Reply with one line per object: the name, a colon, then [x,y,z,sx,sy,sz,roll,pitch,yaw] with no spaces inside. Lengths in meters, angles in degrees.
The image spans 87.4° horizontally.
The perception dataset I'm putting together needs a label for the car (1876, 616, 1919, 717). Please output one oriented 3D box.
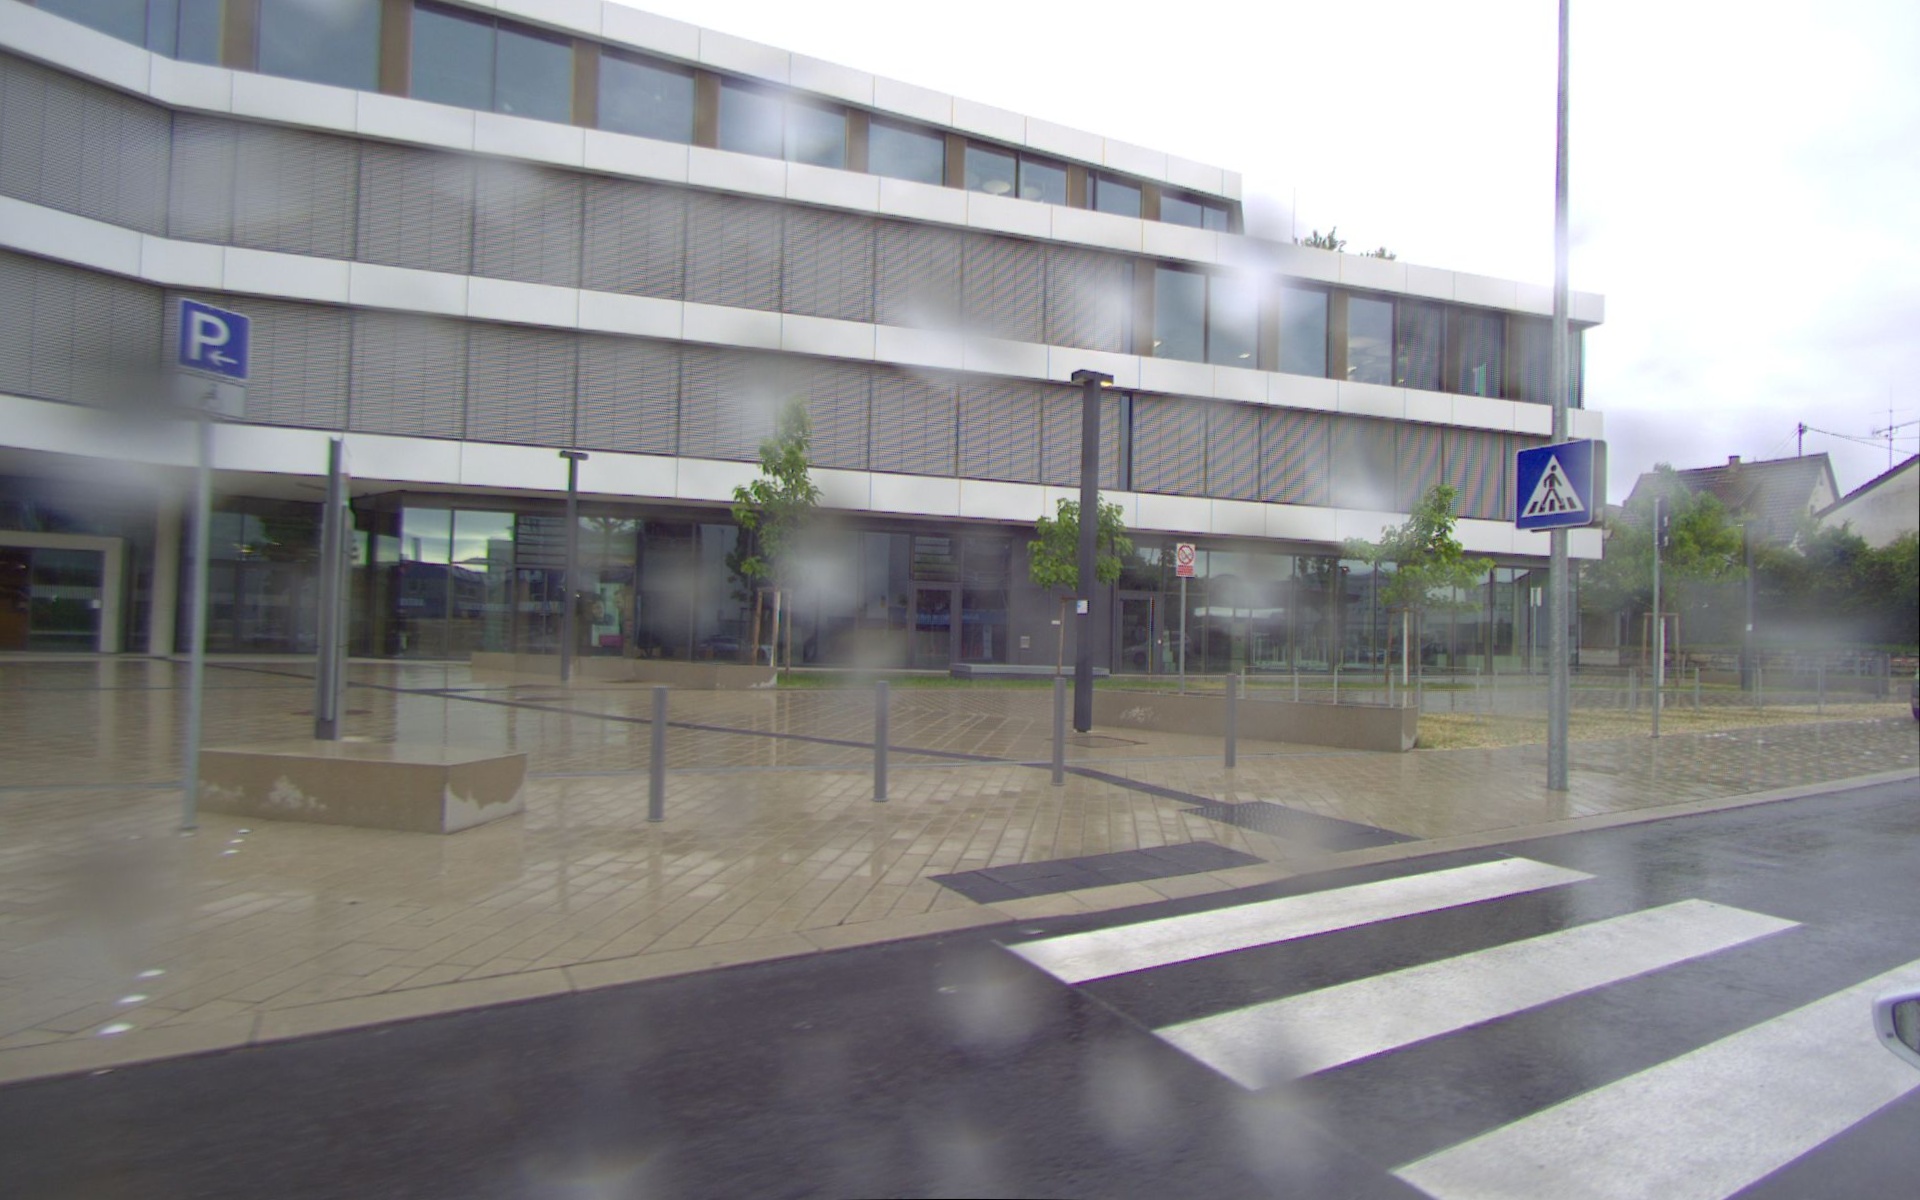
car: [17.715,1.137,17.119,4.104,1.650,1.984,2,-2,-30]
